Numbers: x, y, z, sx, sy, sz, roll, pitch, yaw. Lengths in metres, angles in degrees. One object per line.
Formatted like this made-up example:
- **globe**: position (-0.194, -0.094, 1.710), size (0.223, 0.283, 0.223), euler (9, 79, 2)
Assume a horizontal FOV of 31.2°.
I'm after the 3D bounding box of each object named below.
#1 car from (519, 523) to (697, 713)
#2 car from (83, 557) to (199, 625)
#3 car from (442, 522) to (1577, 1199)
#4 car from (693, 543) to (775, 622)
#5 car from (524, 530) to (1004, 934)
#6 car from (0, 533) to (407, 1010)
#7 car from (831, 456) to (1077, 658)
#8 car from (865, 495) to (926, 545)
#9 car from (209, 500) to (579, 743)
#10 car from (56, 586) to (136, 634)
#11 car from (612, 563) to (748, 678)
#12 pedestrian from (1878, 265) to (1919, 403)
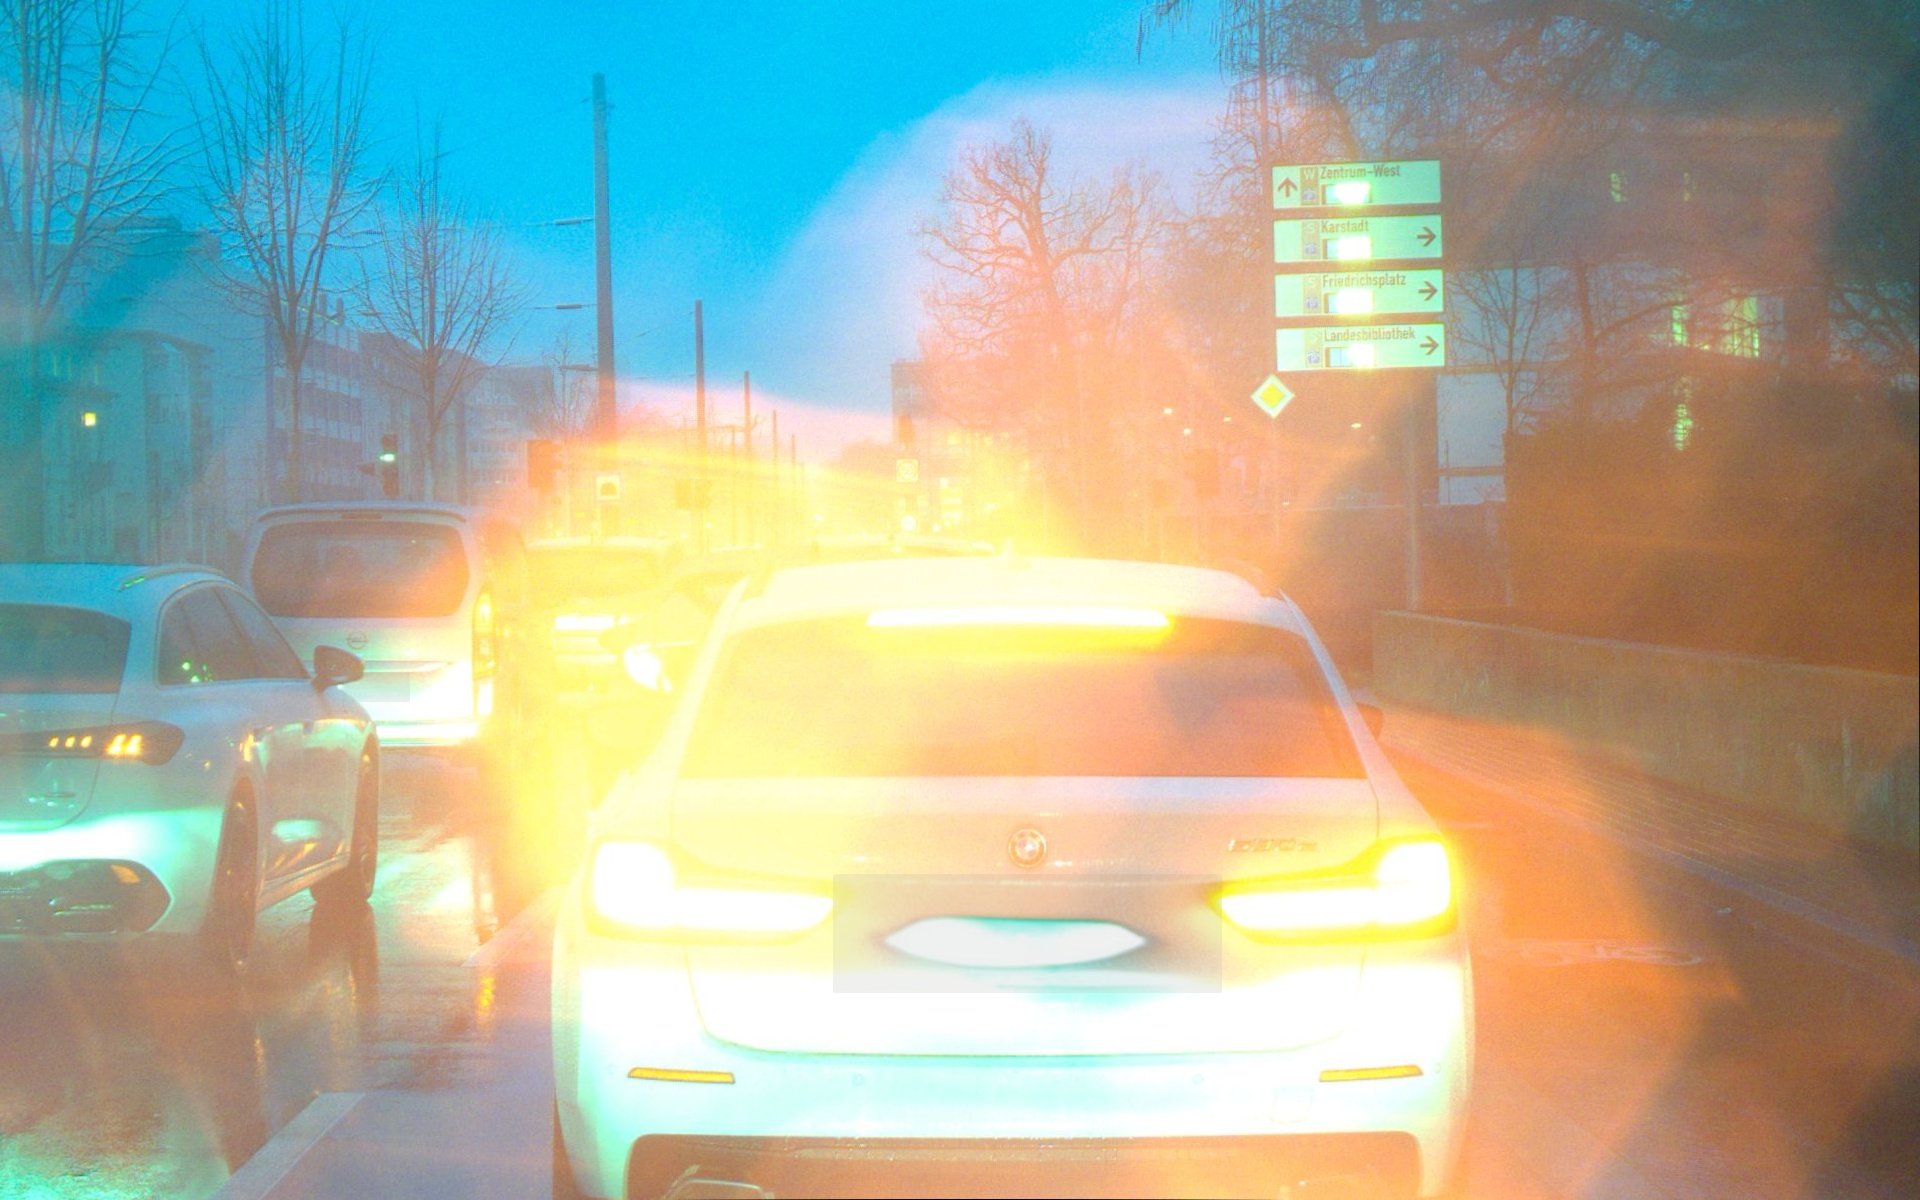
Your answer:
- **car**: position (-3.196, 0.148, 31.557), size (1.505, 1.647, 2.845), euler (1, 1, -4)
- **car**: position (-20.118, -0.232, 84.585), size (1.993, 1.597, 4.000), euler (1, 1, -2)
- **car**: position (0.061, 0.619, 8.185), size (1.862, 1.550, 4.938), euler (-1, 1, -1)
- **car**: position (-3.879, -0.305, 59.287), size (1.362, 1.312, 2.716), euler (1, 1, -3)
- **car**: position (-0.765, 0.476, 14.997), size (1.800, 1.505, 3.895), euler (-1, 1, -1)
- **car**: position (-3.336, 0.499, 12.911), size (1.799, 1.461, 4.586), euler (-1, 1, -1)
- **car**: position (-0.061, -0.347, 26.573), size (1.737, 1.415, 3.703), euler (-1, 1, -1)
- **car**: position (-1.888, -2.351, 101.733), size (1.737, 1.415, 4.146), euler (-1, 1, -1)
- **car**: position (-3.620, 0.086, 22.713), size (1.737, 1.415, 4.394), euler (-1, 1, -1)
- **car**: position (-24.709, 0.267, 98.444), size (1.690, 1.273, 4.149), euler (-1, 1, -7)
- **car**: position (-3.300, 0.222, 40.821), size (1.363, 1.312, 2.716), euler (1, 1, 0)
- **pedestrian**: position (14.413, -3.994, 51.680), size (0.959, 2.007, 1.007), euler (-1, 1, 3)
